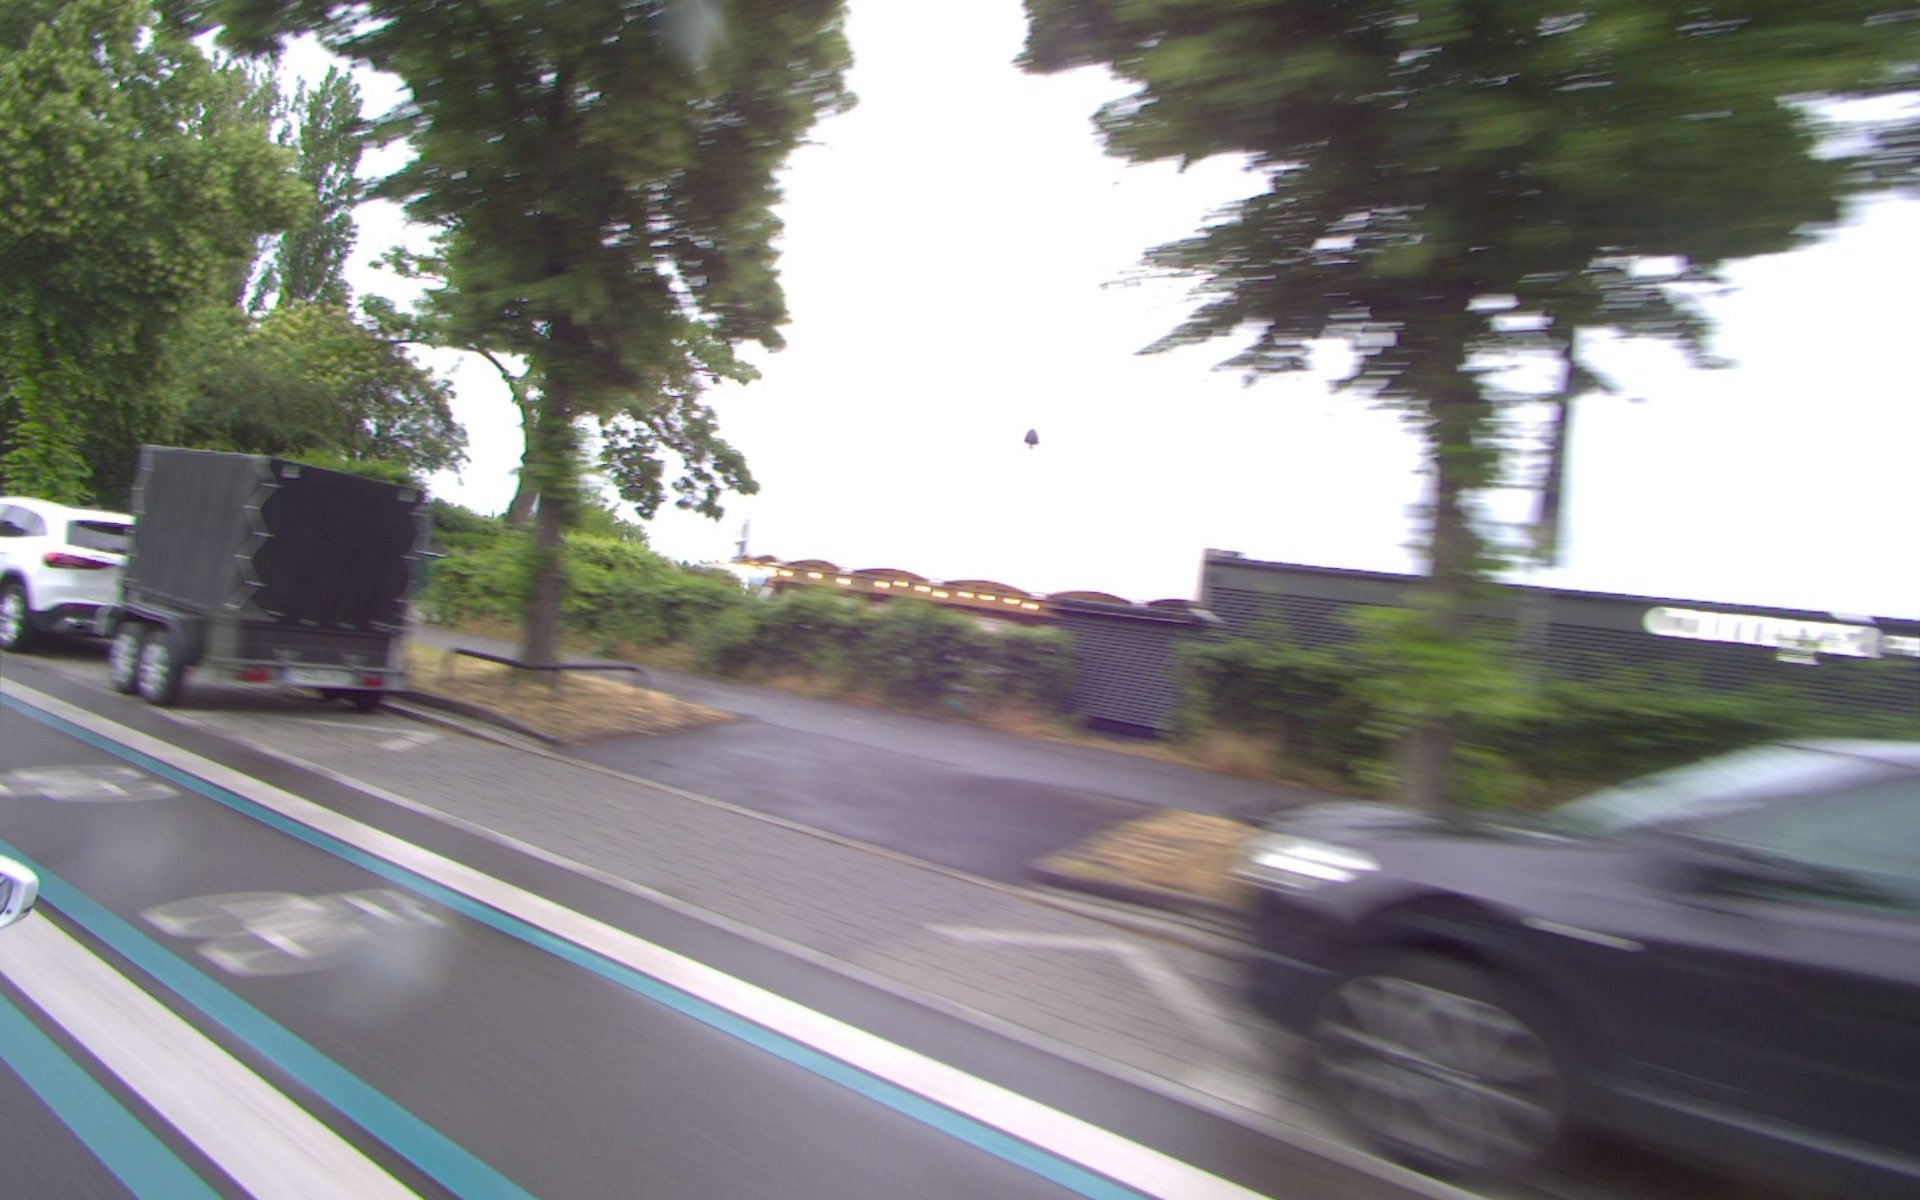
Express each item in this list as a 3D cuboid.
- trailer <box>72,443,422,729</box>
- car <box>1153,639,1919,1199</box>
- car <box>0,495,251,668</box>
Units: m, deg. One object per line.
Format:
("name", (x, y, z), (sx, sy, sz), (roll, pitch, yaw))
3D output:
("trailer", (-6.856, -0.194, 9.579), (3.507, 2.295, 1.348), (6, -2, 34))
("car", (3.034, 1.236, 3.267), (4.268, 1.588, 1.694), (6, -4, 32))
("car", (-10.570, -0.313, 11.738), (4.335, 1.603, 1.761), (6, -2, 26))
